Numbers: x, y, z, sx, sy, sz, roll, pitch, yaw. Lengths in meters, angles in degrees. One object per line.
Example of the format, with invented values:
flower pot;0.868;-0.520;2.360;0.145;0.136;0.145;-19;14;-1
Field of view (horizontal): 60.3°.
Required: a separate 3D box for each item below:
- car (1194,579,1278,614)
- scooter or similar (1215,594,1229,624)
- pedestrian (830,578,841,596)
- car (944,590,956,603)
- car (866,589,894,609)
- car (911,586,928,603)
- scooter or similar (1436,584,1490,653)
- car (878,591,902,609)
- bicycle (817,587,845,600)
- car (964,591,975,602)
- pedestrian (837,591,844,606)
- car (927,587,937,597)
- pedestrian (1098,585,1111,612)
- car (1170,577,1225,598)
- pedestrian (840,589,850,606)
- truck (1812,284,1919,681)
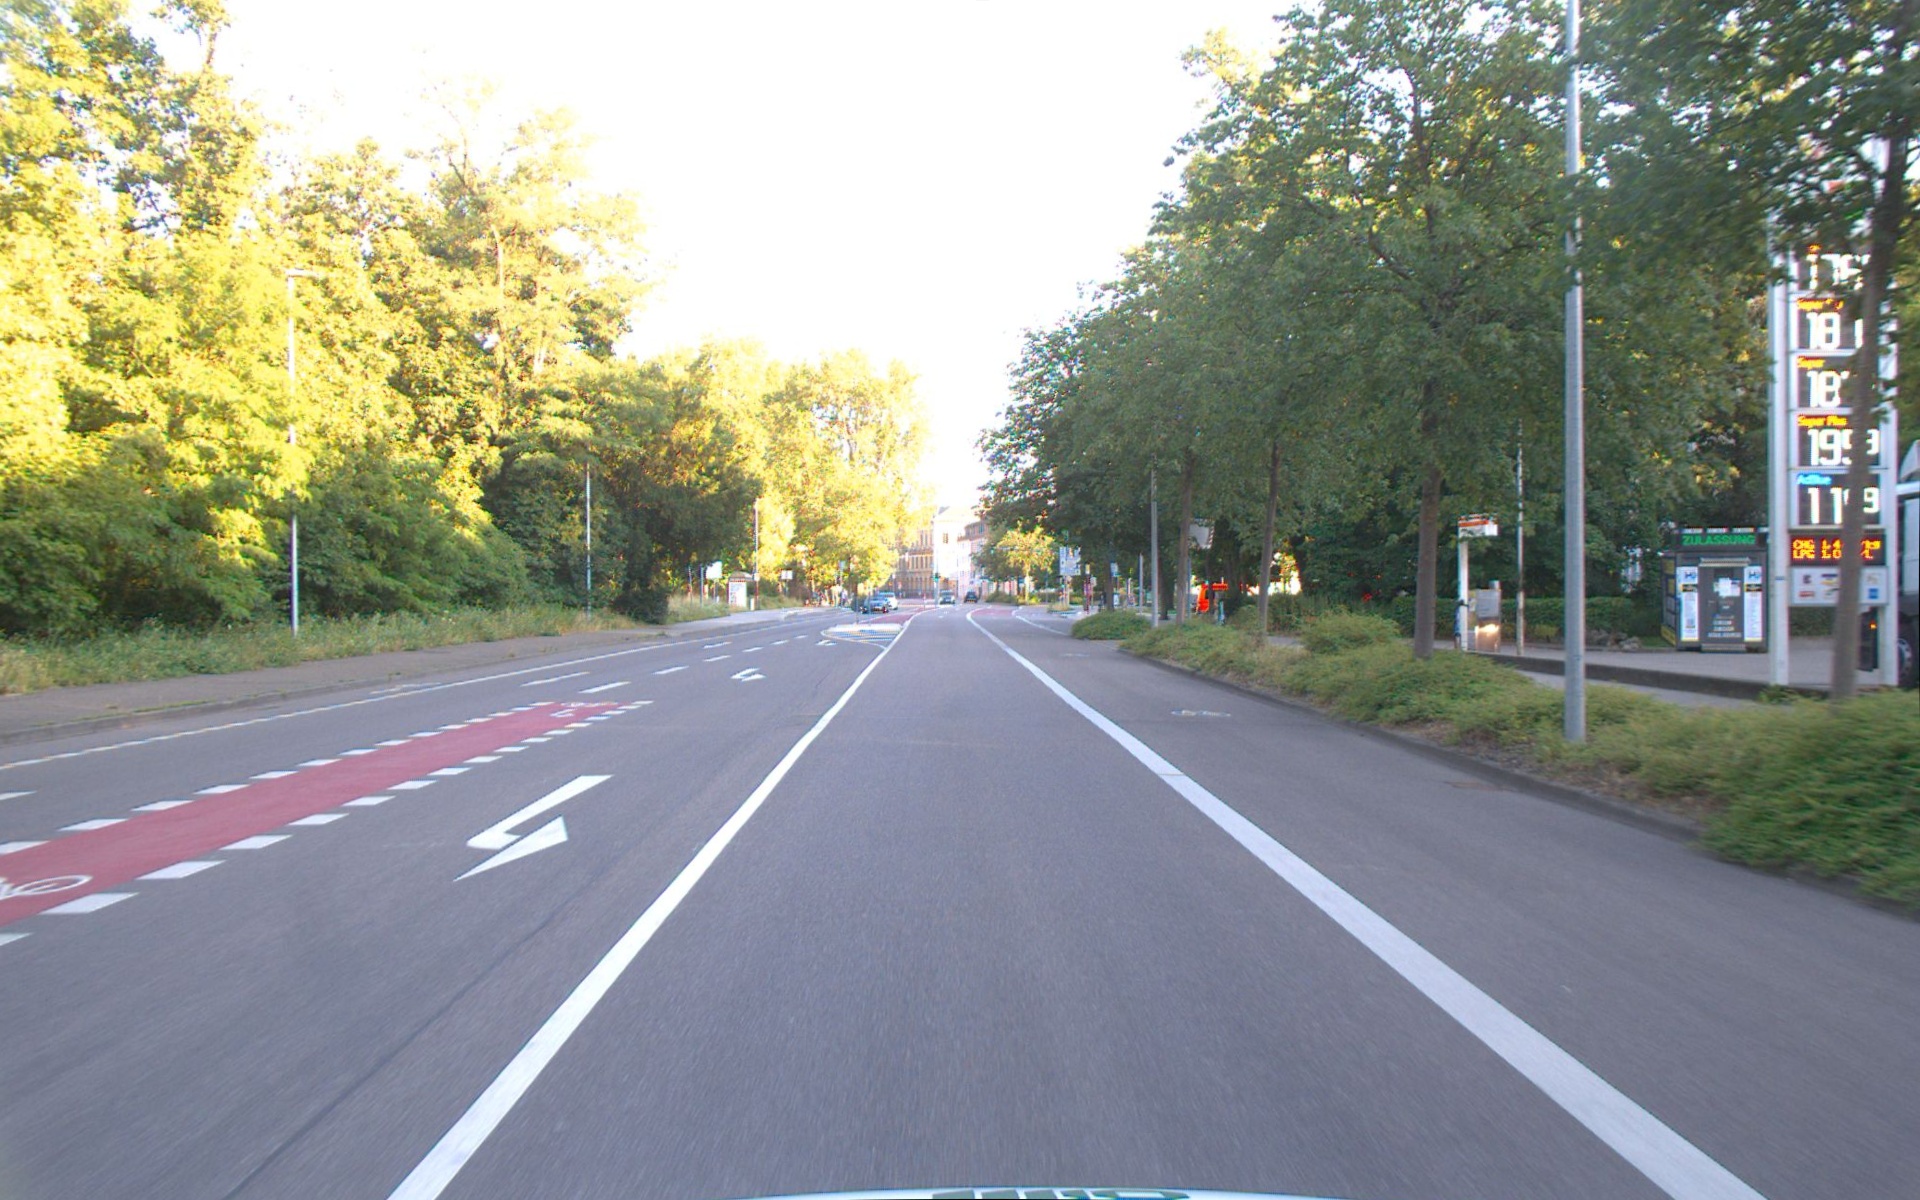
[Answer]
car;16.313;-0.204;97.781;4.806;2.024;1.923;0;0;7
scooter or similar;9.387;0.317;59.267;0.304;1.060;0.980;-1;0;0
pedestrian;-11.421;-1.166;151.791;0.774;1.608;0.746;1;0;8
car;-1.188;-0.459;198.052;1.462;1.512;3.490;0;0;0
car;-5.844;-0.089;121.034;1.760;1.478;4.128;0;0;2
car;-3.706;-0.500;152.568;1.462;1.512;3.490;0;0;0
scooter or similar;9.751;0.343;32.086;0.585;1.304;1.468;0;0;0
car;-5.875;0.029;139.056;1.760;1.478;4.128;0;0;2
bicycle;-11.842;-0.580;151.855;2.410;1.216;0.757;0;0;9
car;1.279;-0.484;223.285;1.462;1.512;3.490;0;0;0
pedestrian;-11.324;-0.140;156.238;0.569;1.455;0.559;1;0;-9
car;-4.230;-1.223;253.011;1.462;1.512;3.490;0;0;0
pedestrian;9.381;-0.086;107.409;0.754;1.770;0.731;0;0;0
car;19.371;-1.014;134.900;4.364;1.618;1.717;0;0;7
pedestrian;-11.020;-0.277;159.025;0.774;1.608;0.746;1;0;8
truck;15.010;-1.620;21.683;2.973;5.550;8.405;0;1;-3
